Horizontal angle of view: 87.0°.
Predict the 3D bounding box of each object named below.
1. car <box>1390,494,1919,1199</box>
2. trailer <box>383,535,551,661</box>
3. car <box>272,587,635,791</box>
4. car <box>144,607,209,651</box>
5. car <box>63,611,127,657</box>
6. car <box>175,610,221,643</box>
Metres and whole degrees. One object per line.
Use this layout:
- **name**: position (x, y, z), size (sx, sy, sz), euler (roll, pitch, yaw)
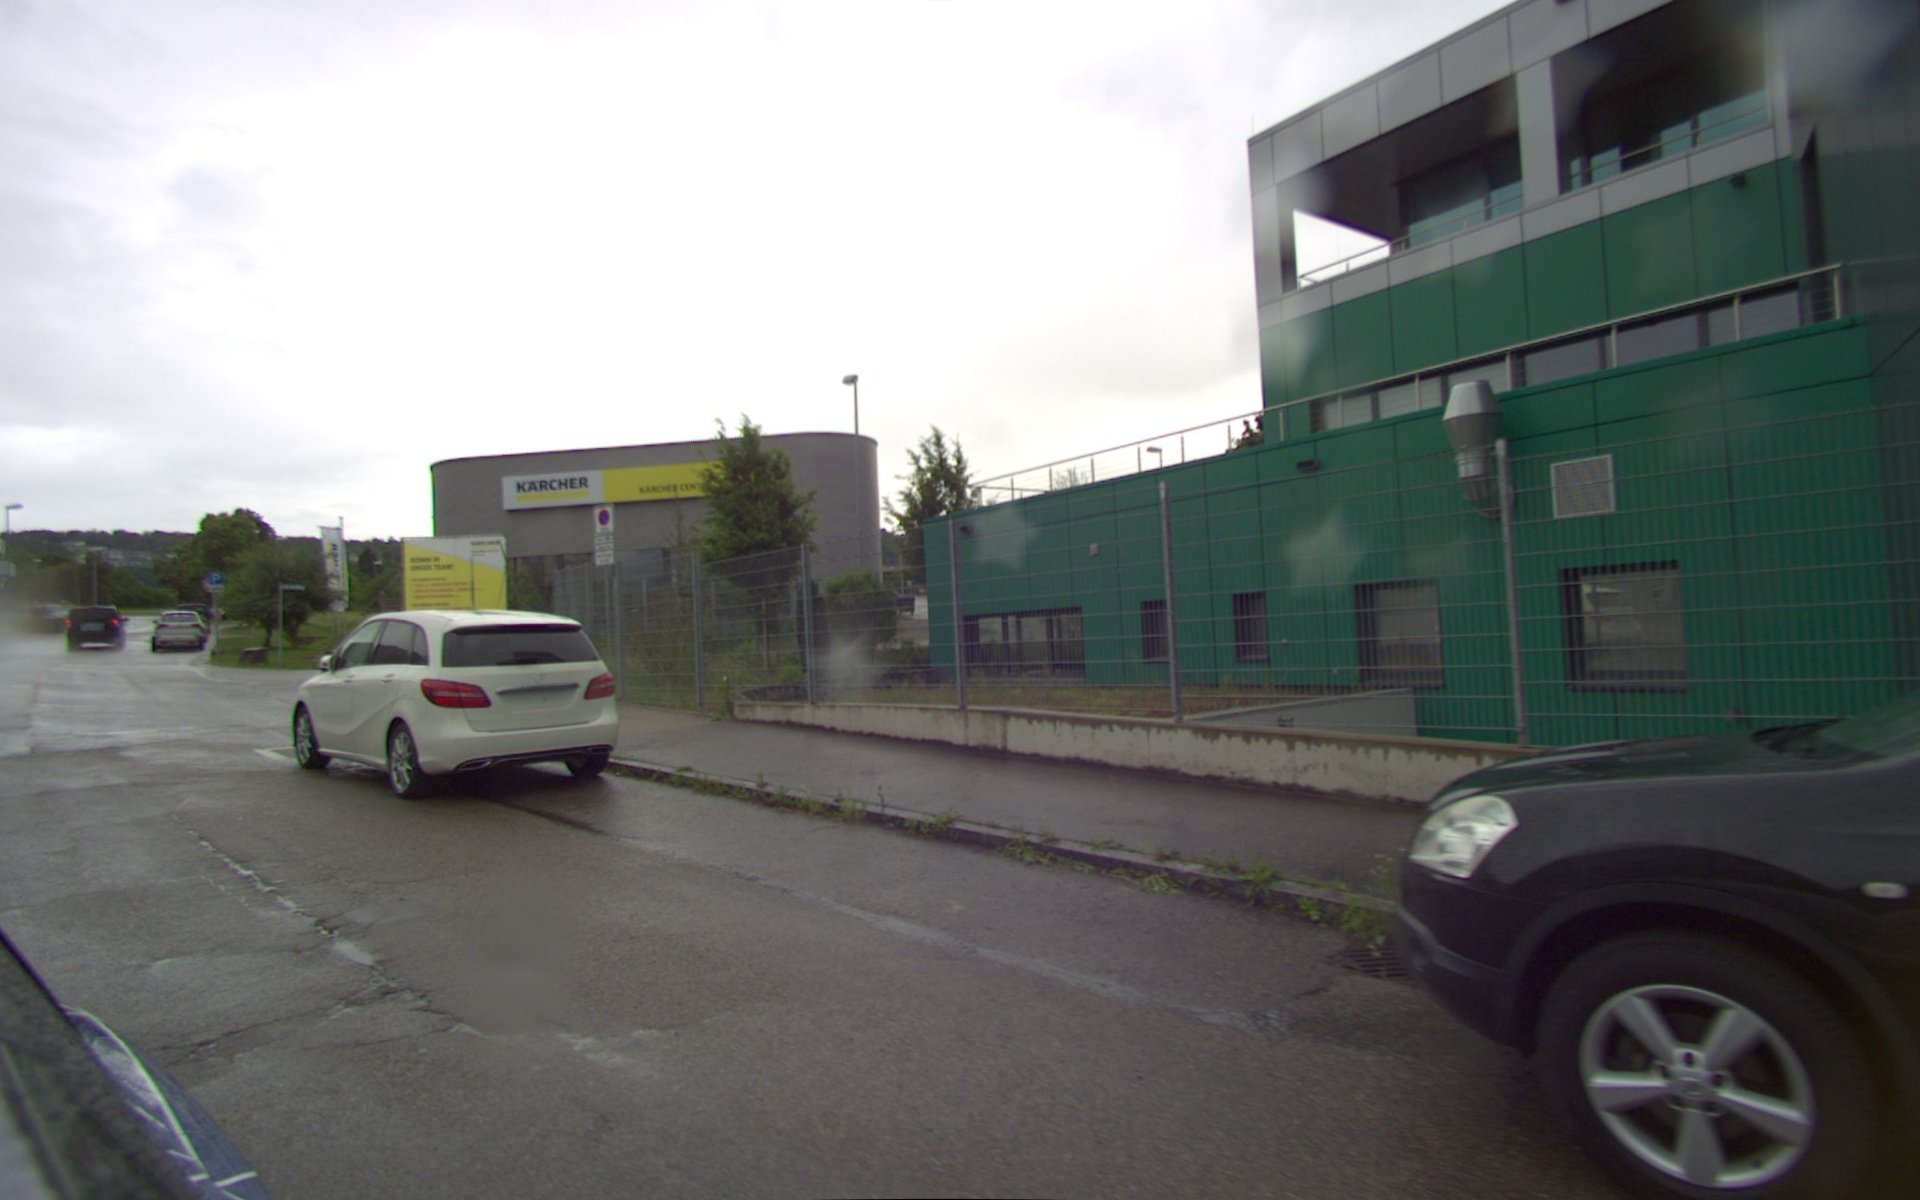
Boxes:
- **car**: position (3.267, 0.556, 2.096), size (4.081, 1.570, 1.616), euler (-1, -2, 40)
- **trailer**: position (-16.854, -0.052, 34.778), size (4.635, 4.120, 2.388), euler (0, -1, 1)
- **car**: position (-5.027, 0.701, 9.753), size (4.249, 1.547, 1.716), euler (-1, -1, 42)
- **car**: position (-36.021, 1.340, 46.493), size (1.970, 1.928, 4.004), euler (1, -2, -43)
- **car**: position (-39.835, 1.596, 46.575), size (2.037, 2.029, 4.516), euler (2, -4, -42)
- **car**: position (-48.056, 1.644, 63.869), size (1.966, 2.029, 4.011), euler (0, -1, -32)
